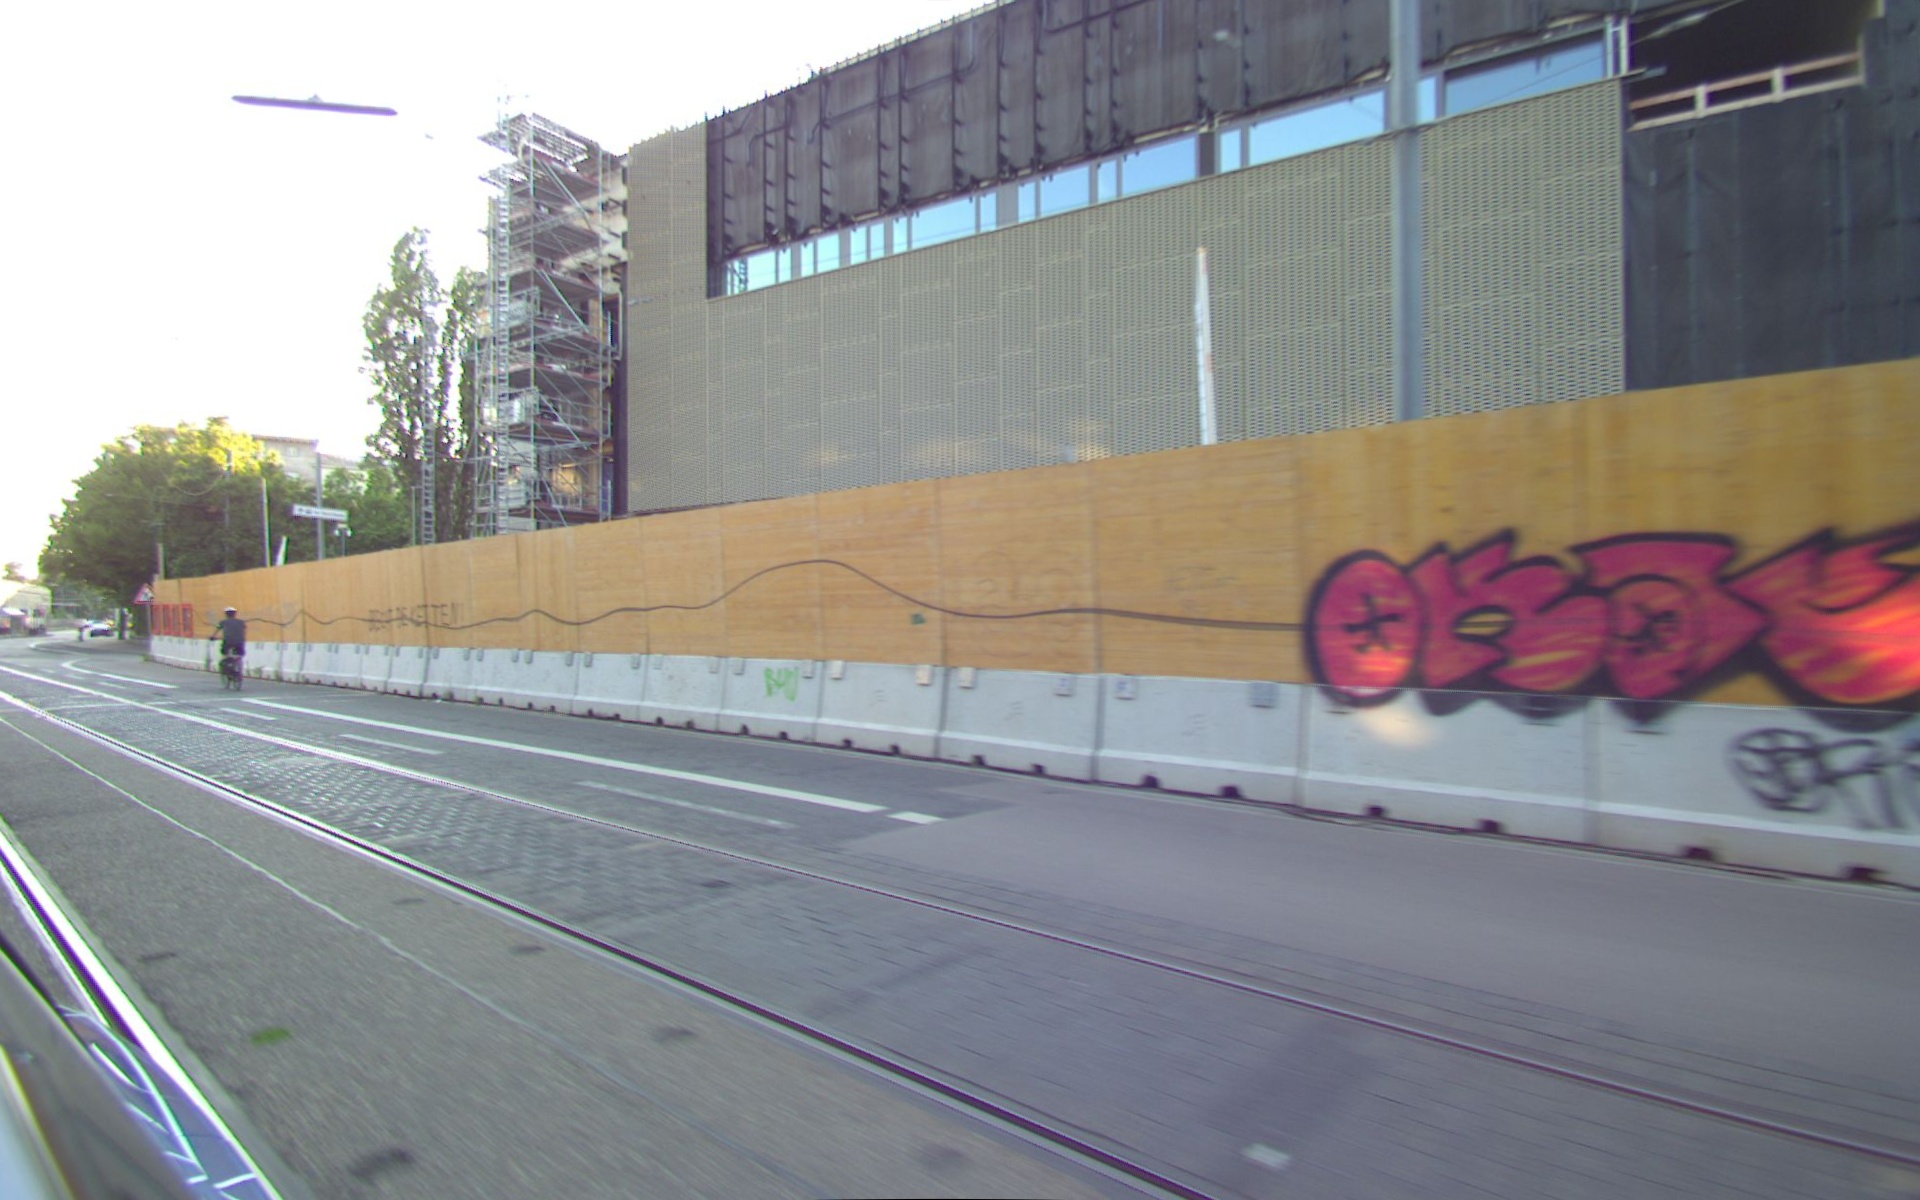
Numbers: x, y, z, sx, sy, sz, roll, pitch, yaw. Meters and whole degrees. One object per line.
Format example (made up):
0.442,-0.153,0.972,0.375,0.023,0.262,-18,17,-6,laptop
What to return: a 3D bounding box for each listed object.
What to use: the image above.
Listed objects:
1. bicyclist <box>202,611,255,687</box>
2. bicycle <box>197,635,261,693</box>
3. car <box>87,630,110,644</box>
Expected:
-16.499,1.087,22.830,1.018,1.678,0.760,-2,-2,41,bicyclist
-16.471,1.414,22.793,1.935,1.237,0.760,-2,-2,42,bicycle
-107.141,4.554,125.902,1.968,1.697,4.008,0,-2,-39,car
